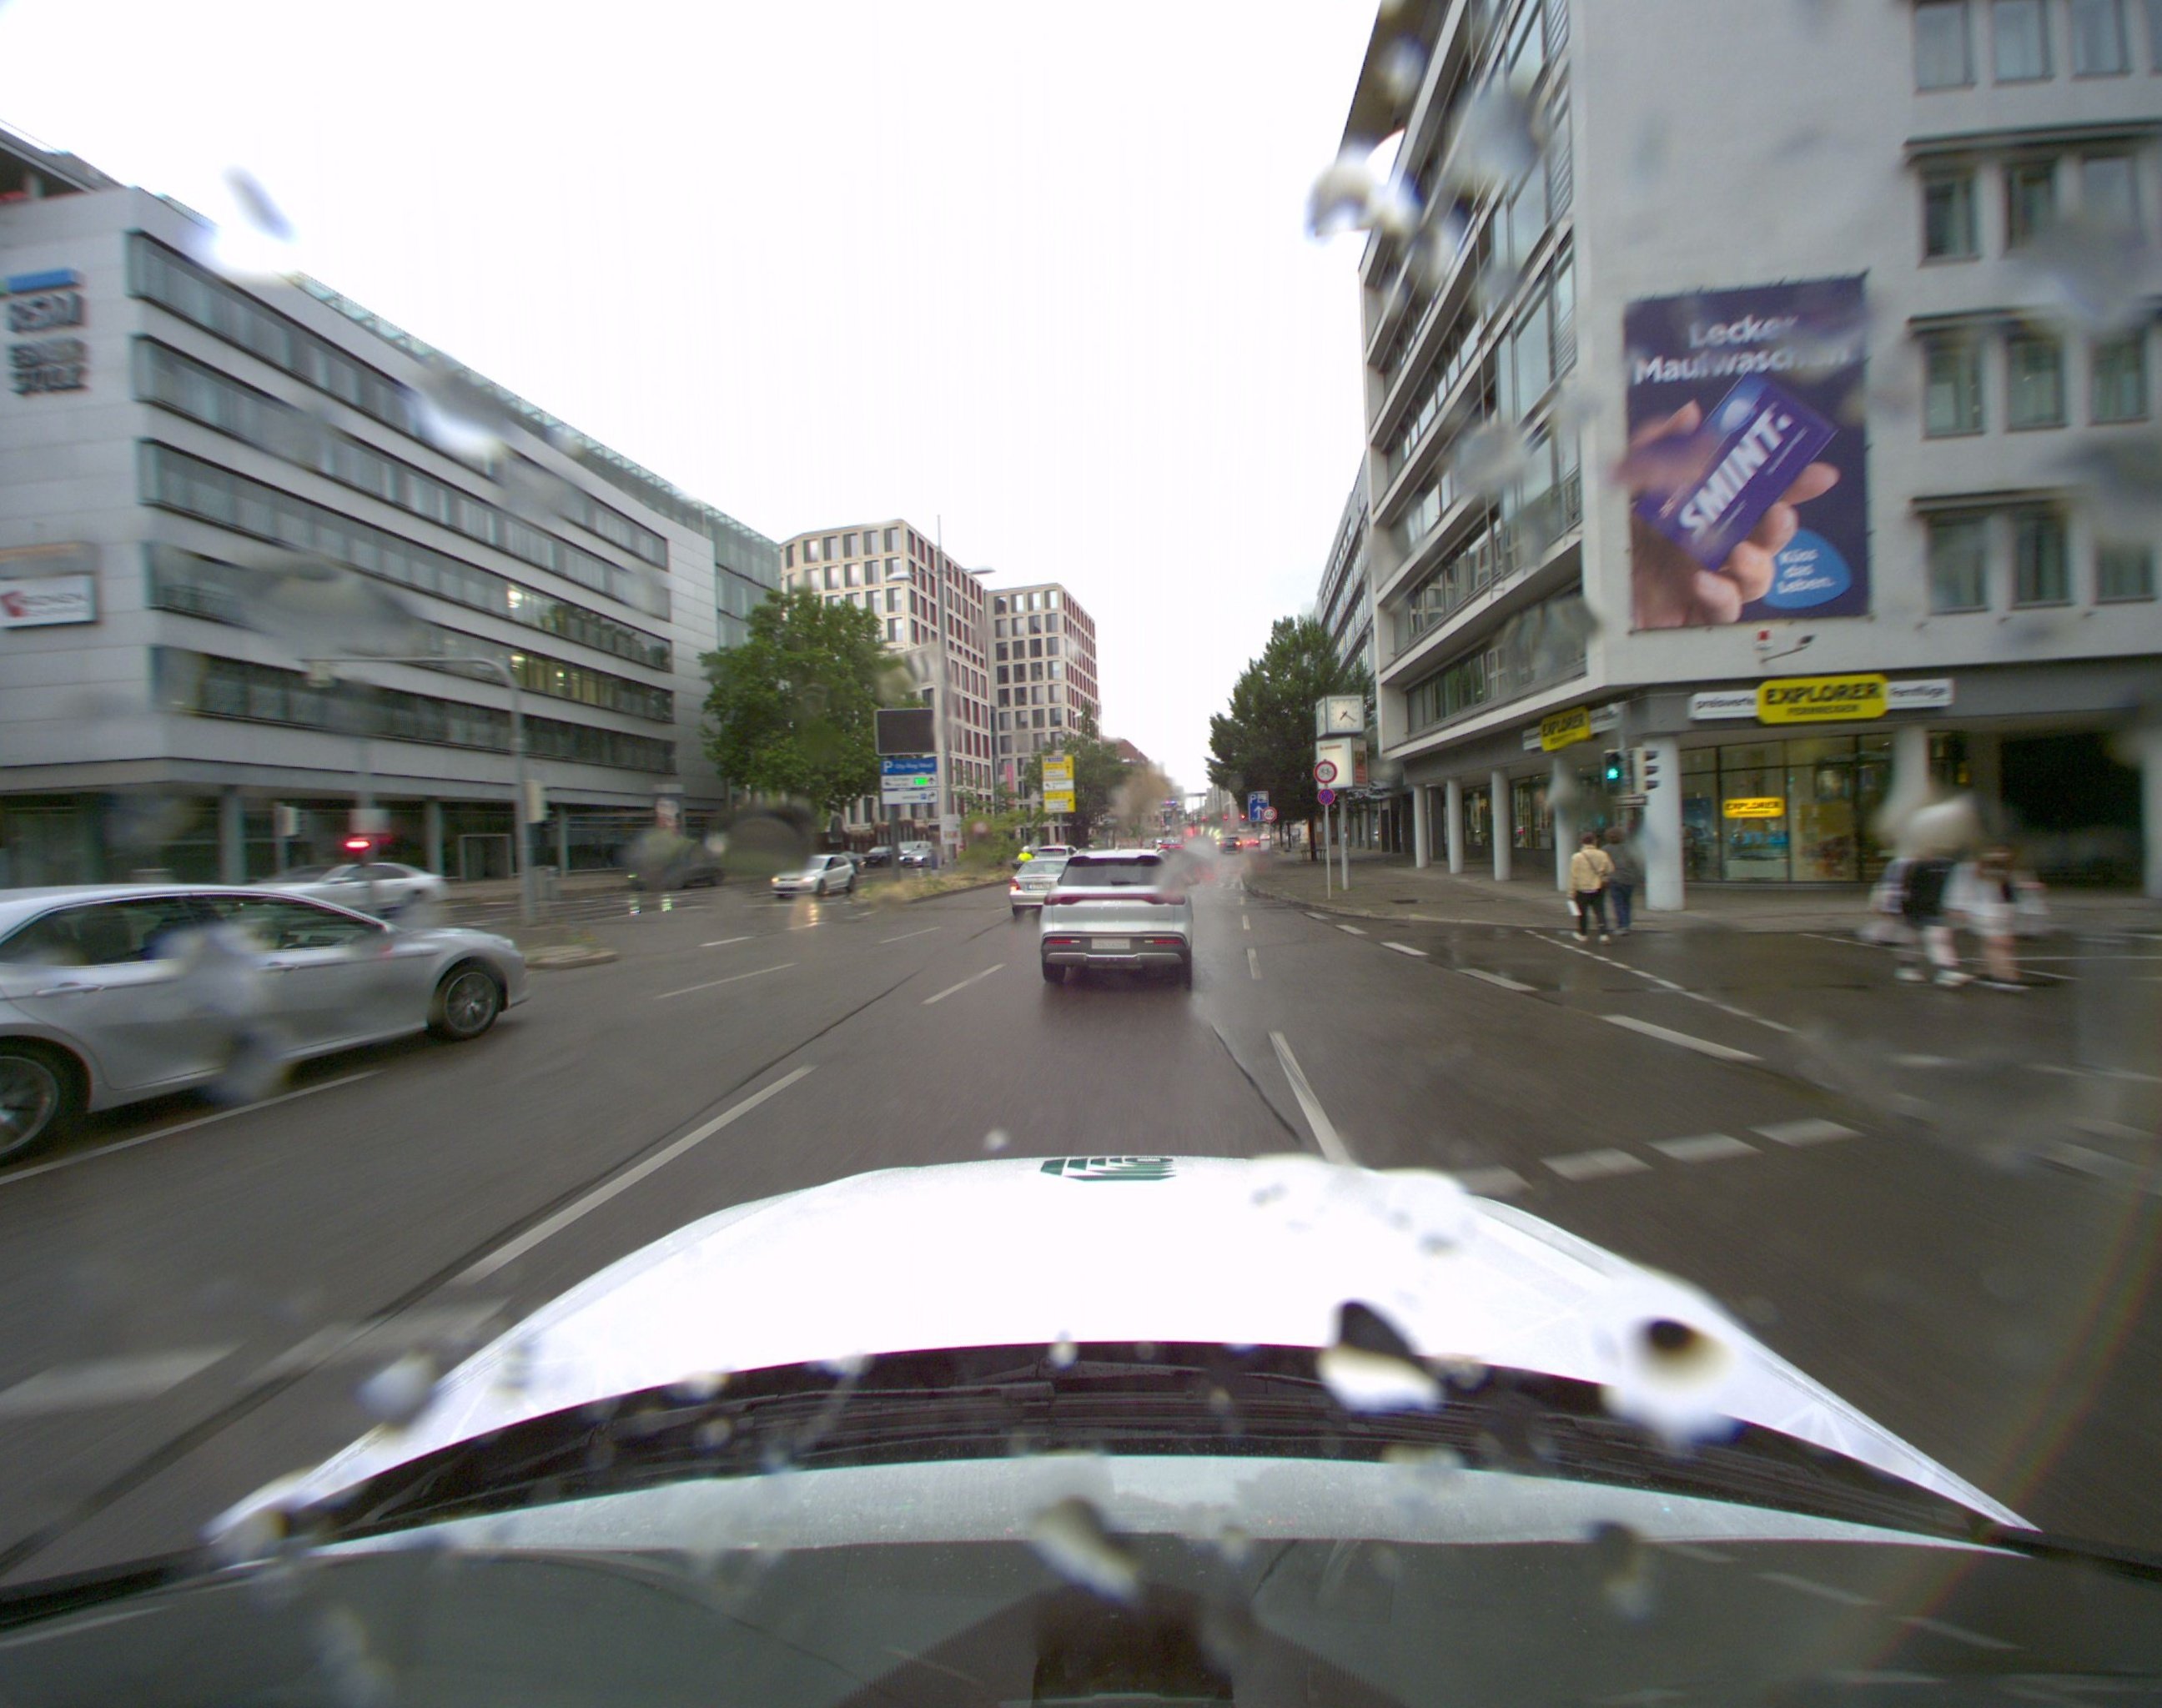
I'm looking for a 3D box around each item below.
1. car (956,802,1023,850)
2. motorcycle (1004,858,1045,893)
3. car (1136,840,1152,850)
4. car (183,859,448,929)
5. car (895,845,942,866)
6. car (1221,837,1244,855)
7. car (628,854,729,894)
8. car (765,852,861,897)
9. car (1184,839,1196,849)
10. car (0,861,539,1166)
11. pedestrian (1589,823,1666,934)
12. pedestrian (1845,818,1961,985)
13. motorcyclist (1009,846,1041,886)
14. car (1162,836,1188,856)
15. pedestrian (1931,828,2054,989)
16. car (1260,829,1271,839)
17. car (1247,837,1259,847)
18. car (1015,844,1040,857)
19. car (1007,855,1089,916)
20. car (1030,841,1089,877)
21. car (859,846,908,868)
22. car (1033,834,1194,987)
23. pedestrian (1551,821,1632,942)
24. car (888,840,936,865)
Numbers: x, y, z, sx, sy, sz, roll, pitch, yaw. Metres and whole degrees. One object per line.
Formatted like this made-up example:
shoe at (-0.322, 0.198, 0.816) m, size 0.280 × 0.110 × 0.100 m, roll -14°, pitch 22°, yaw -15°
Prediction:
car at (-4.309, -1.288, 39.349) m, size 1.982 × 2.014 × 4.860 m, roll -1°, pitch -1°, yaw 9°
motorcycle at (-1.973, 0.745, 28.697) m, size 0.794 × 1.185 × 2.036 m, roll -1°, pitch -1°, yaw 15°
car at (10.460, -1.446, 134.351) m, size 1.979 × 1.486 × 4.015 m, roll -2°, pitch 1°, yaw 14°
car at (-20.060, 0.960, 21.781) m, size 1.804 × 1.510 × 5.204 m, roll -2°, pitch 1°, yaw 5°
car at (-12.321, 0.088, 62.083) m, size 1.979 × 1.488 × 4.015 m, roll -2°, pitch 1°, yaw 13°
car at (13.363, -0.702, 71.853) m, size 1.681 × 1.486 × 4.015 m, roll -1°, pitch -1°, yaw 15°
car at (-18.044, 0.851, 36.754) m, size 1.622 × 1.559 × 4.605 m, roll -2°, pitch 1°, yaw 9°
car at (-9.638, 0.682, 29.567) m, size 1.622 × 1.437 × 3.918 m, roll -2°, pitch 1°, yaw 9°
car at (18.158, -1.677, 135.365) m, size 1.877 × 1.643 × 4.009 m, roll -1°, pitch 0°, yaw 8°
car at (-6.348, 0.850, 5.451) m, size 1.856 × 1.533 × 4.785 m, roll -1°, pitch 0°, yaw 6°
pedestrian at (9.159, 0.395, 13.682) m, size 0.745 × 1.798 × 0.818 m, roll -2°, pitch 0°, yaw 6°
pedestrian at (8.594, 0.477, 8.545) m, size 0.662 × 1.655 × 0.657 m, roll -1°, pitch 0°, yaw 29°
motorcyclist at (-1.963, 0.435, 28.788) m, size 0.764 × 1.380 × 1.123 m, roll -1°, pitch -1°, yaw 16°
car at (7.307, -0.596, 62.925) m, size 1.560 × 1.486 × 4.013 m, roll -1°, pitch -1°, yaw 12°
pedestrian at (9.180, 0.522, 8.230) m, size 0.618 × 1.543 × 0.657 m, roll -1°, pitch 0°, yaw 29°
car at (43.458, -4.677, 192.021) m, size 1.983 × 2.014 × 4.006 m, roll -1°, pitch -1°, yaw 6°
car at (28.783, -1.981, 136.446) m, size 1.681 × 1.486 × 4.016 m, roll -1°, pitch -1°, yaw 16°
car at (-6.436, -0.466, 98.412) m, size 1.979 × 1.488 × 4.015 m, roll -2°, pitch 1°, yaw 13°
car at (-0.745, 0.760, 20.934) m, size 1.563 × 1.407 × 4.114 m, roll -1°, pitch -1°, yaw 5°
car at (-0.880, 0.247, 36.062) m, size 1.696 × 1.486 × 4.012 m, roll -1°, pitch -1°, yaw 11°
car at (-15.111, 0.211, 62.507) m, size 1.979 × 1.488 × 4.015 m, roll -2°, pitch 1°, yaw 13°
car at (0.626, 0.663, 11.045) m, size 1.766 × 1.679 × 4.009 m, roll -1°, pitch -1°, yaw 8°
pedestrian at (7.917, 0.411, 12.656) m, size 0.745 × 1.798 × 0.818 m, roll -2°, pitch 0°, yaw 6°
car at (-14.131, -0.171, 68.467) m, size 1.979 × 2.011 × 4.946 m, roll -2°, pitch 1°, yaw 13°
